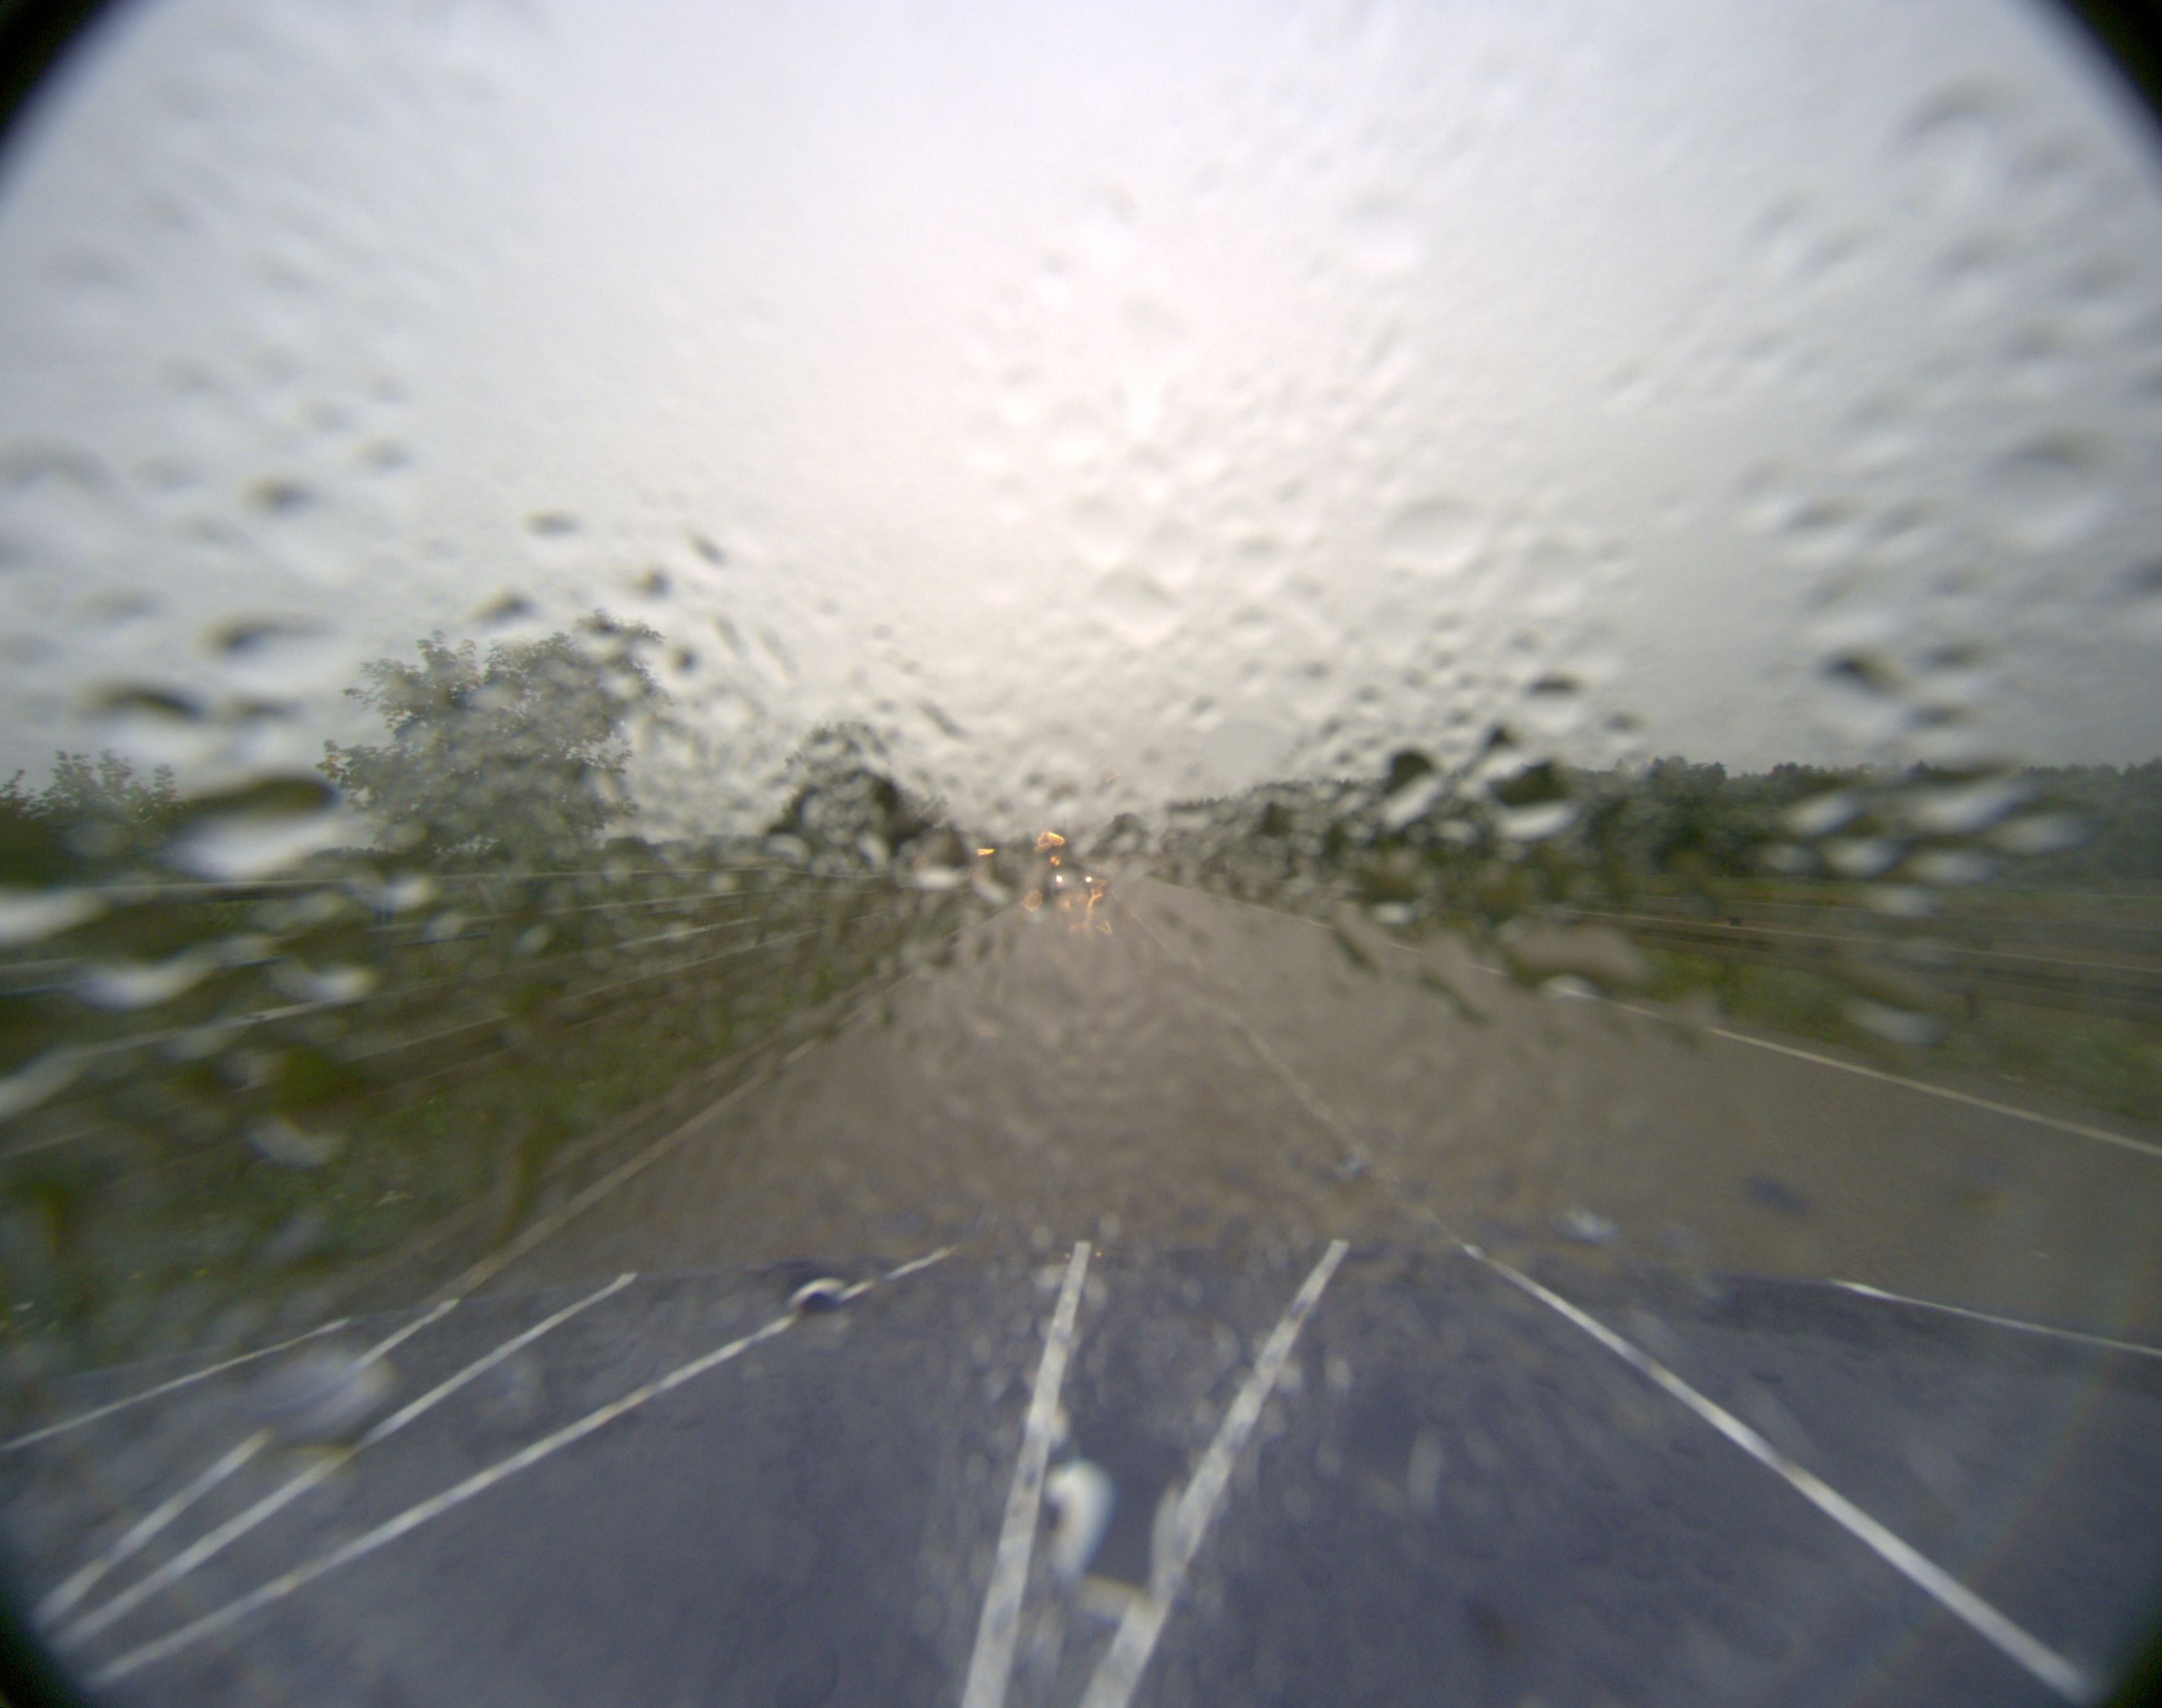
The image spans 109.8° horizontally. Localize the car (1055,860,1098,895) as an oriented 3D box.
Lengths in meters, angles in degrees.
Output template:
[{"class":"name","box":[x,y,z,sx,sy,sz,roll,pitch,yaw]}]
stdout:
[{"class":"car","box":[-0.198,1.042,35.590,1.819,1.382,4.068,-3,1,0]}]
